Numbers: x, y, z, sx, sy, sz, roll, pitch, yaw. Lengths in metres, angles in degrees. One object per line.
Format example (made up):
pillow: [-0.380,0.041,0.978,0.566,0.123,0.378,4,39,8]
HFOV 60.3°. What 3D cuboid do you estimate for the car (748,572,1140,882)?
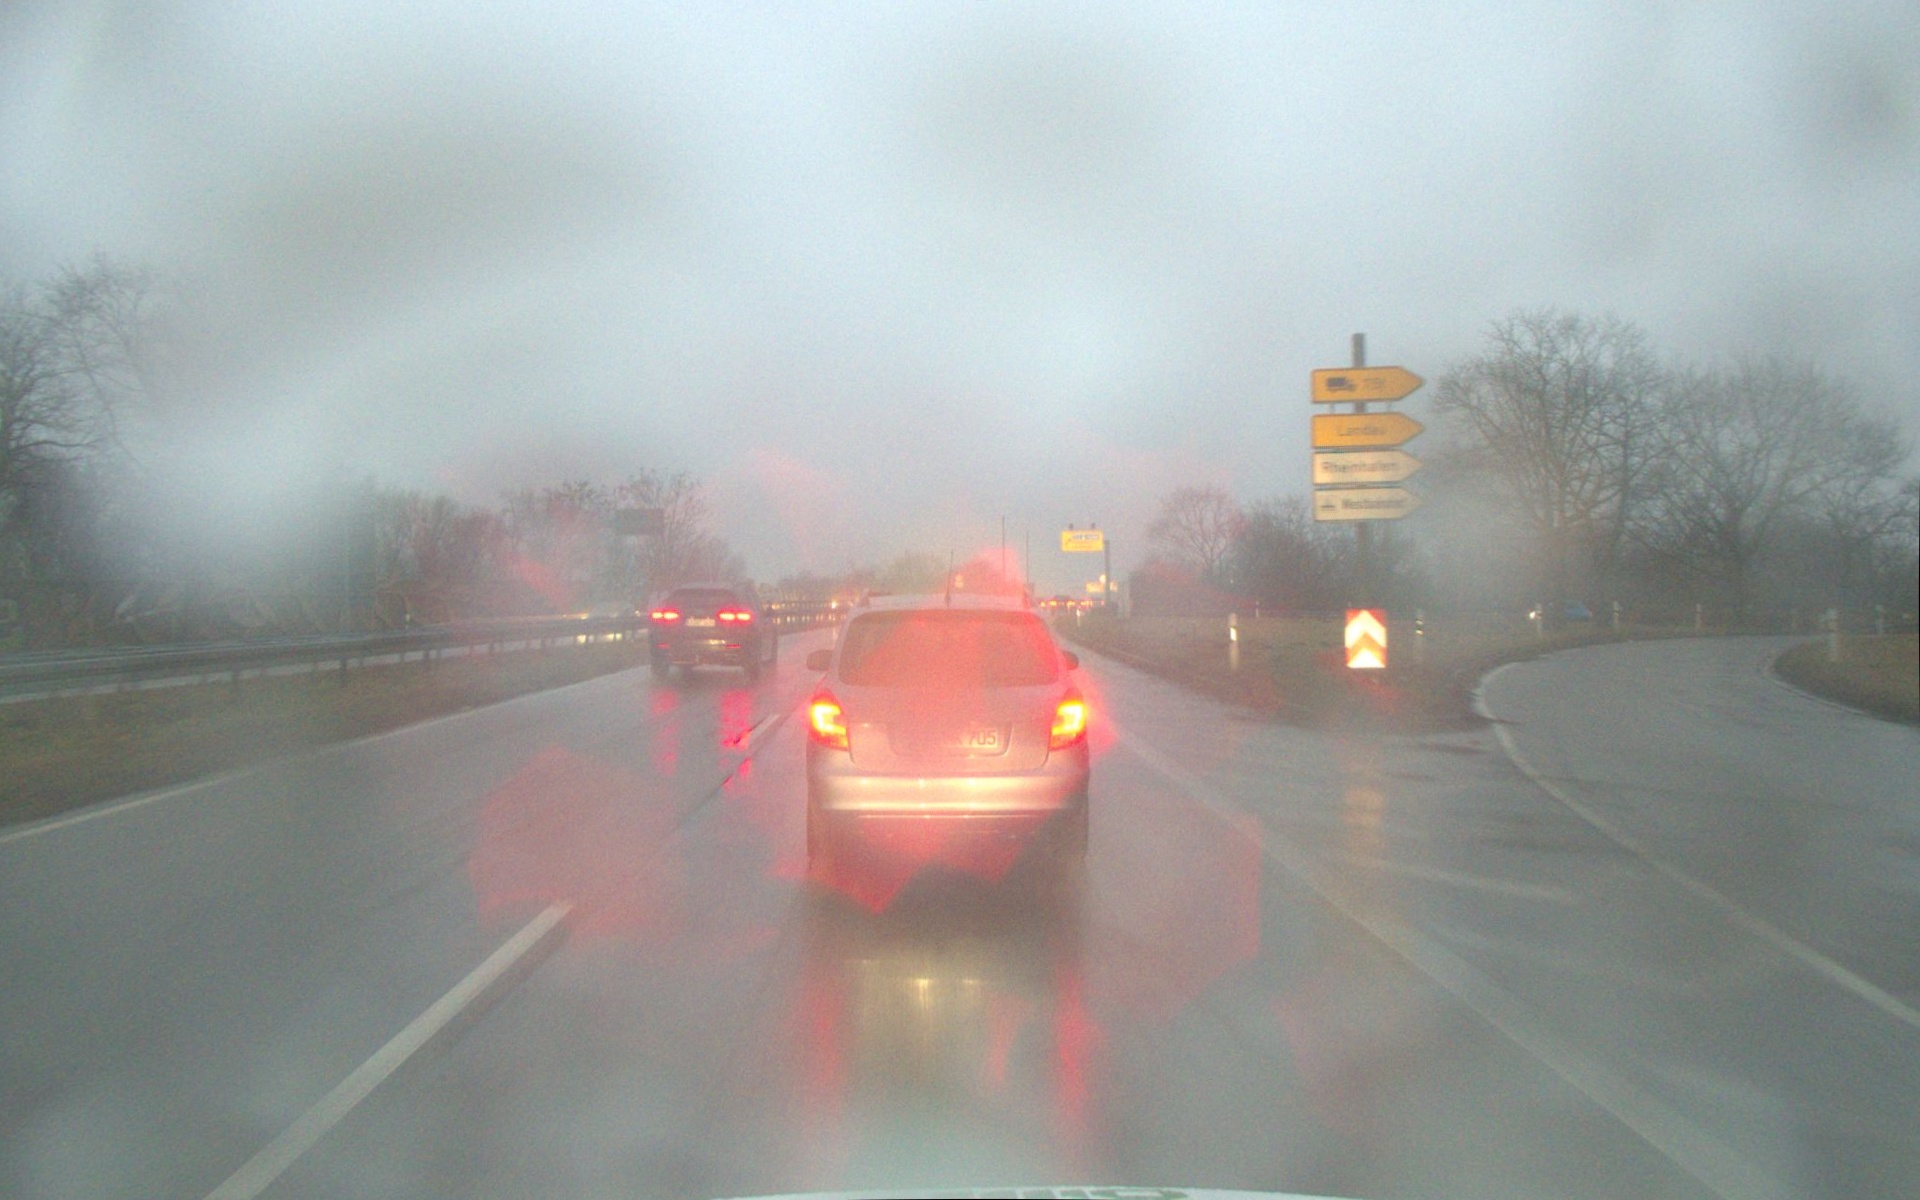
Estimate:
car: [-0.014,0.650,10.416,1.952,1.527,4.138,-1,0,2]

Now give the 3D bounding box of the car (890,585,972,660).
car: [-0.699,0.530,42.393,1.858,1.798,4.310,-1,0,2]

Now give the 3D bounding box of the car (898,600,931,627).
car: [-2.753,0.800,100.379,1.752,1.572,4.001,-1,0,2]

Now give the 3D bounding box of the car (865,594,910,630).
car: [-3.290,0.519,76.118,1.752,1.572,4.001,-1,0,2]

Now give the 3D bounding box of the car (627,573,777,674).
car: [-4.492,0.382,29.380,1.952,1.629,4.308,1,0,0]
